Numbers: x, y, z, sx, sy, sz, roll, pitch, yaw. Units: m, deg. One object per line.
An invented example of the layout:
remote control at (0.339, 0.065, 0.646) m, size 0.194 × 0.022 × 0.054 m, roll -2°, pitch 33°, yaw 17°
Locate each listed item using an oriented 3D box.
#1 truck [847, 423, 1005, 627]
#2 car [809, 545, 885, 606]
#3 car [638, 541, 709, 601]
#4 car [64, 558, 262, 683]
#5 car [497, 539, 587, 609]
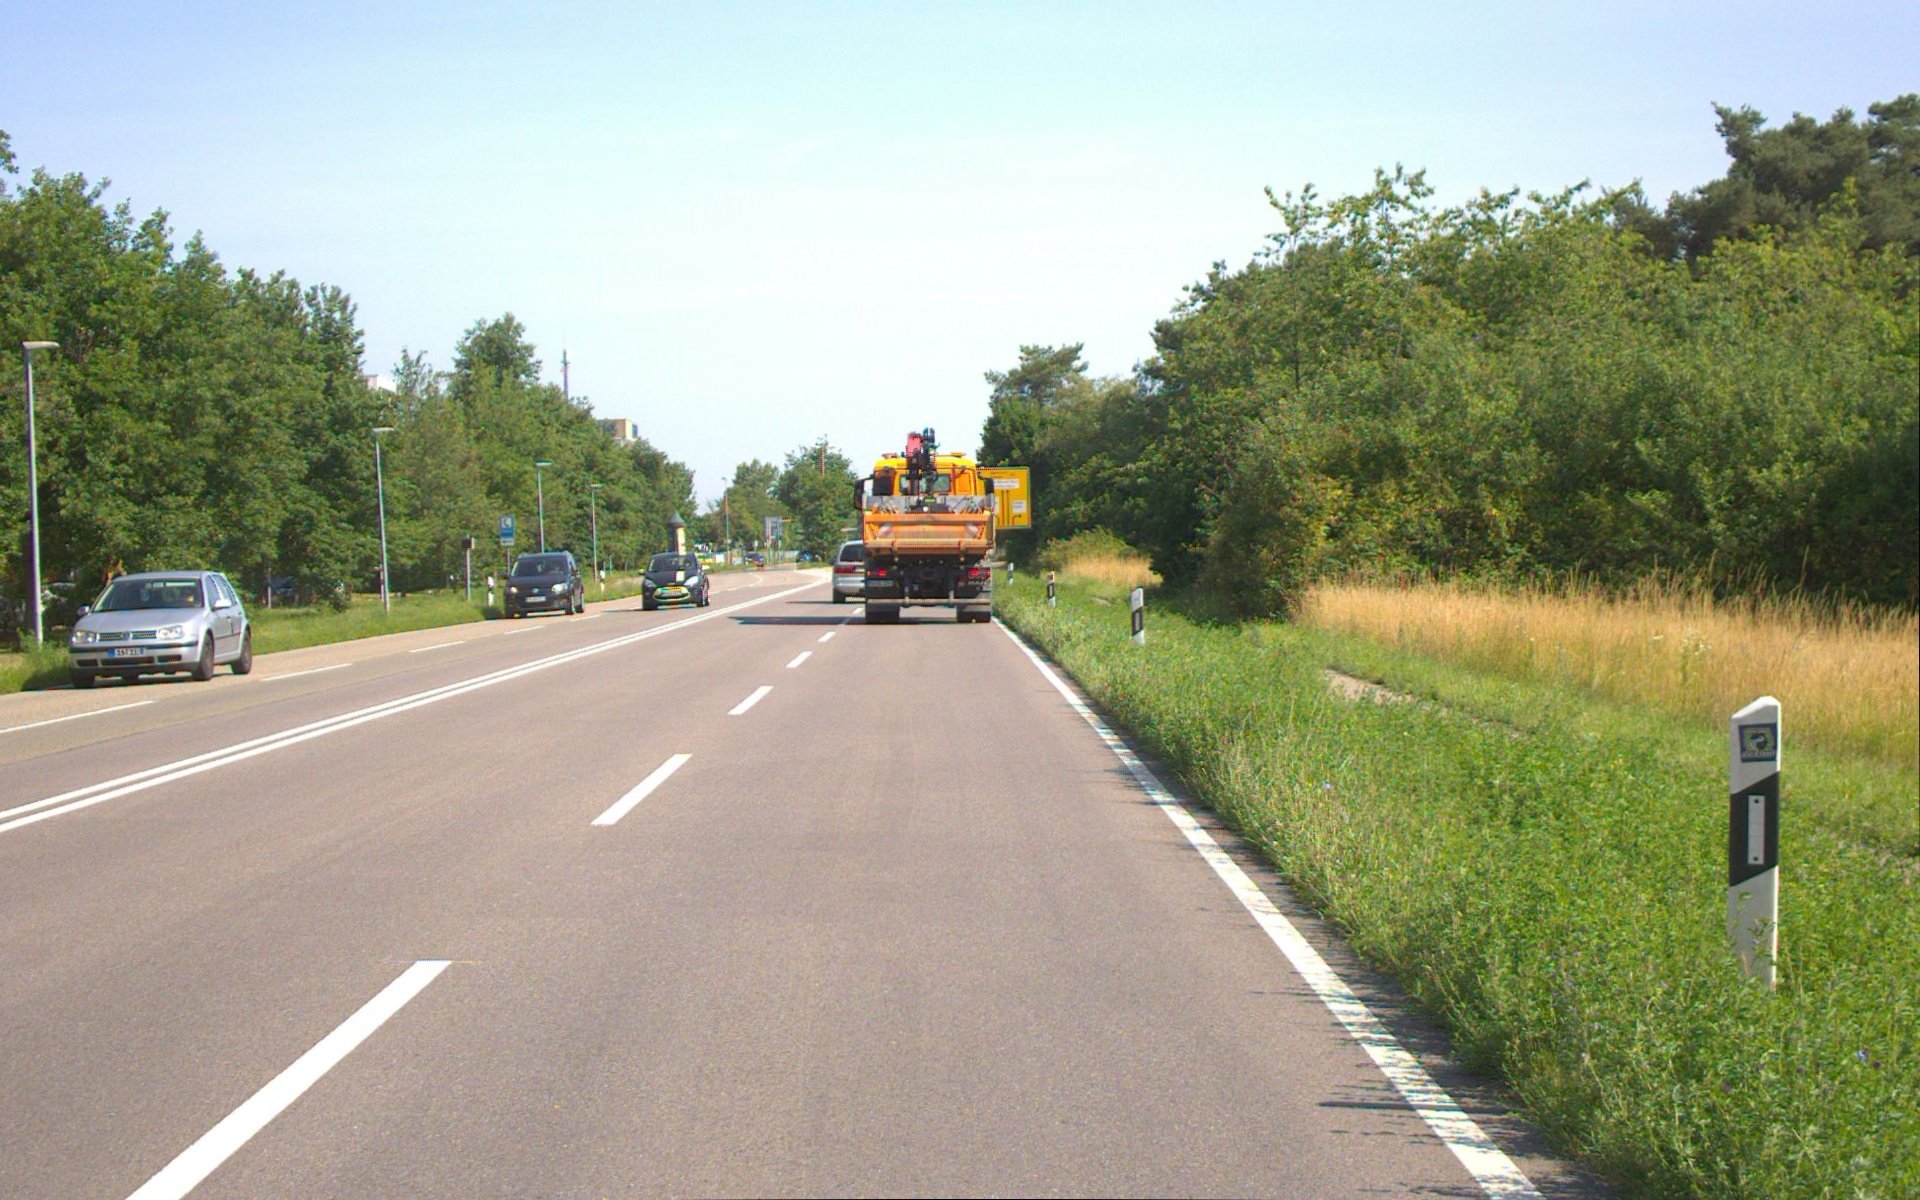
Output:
truck at (-0.768, -1.485, 69.156) m, size 2.871 × 3.867 × 7.401 m, roll 1°, pitch 1°, yaw -3°
car at (-3.084, -0.689, 93.416) m, size 1.993 × 1.578 × 4.001 m, roll -1°, pitch 1°, yaw -2°
car at (-7.543, -0.784, 90.776) m, size 1.517 × 1.445 × 3.775 m, roll -3°, pitch 1°, yaw -1°
car at (-10.257, 0.227, 44.508) m, size 1.598 × 1.437 × 4.000 m, roll -3°, pitch 1°, yaw -1°
car at (-10.829, -0.696, 89.221) m, size 1.825 × 1.666 × 4.390 m, roll -3°, pitch 1°, yaw -2°
